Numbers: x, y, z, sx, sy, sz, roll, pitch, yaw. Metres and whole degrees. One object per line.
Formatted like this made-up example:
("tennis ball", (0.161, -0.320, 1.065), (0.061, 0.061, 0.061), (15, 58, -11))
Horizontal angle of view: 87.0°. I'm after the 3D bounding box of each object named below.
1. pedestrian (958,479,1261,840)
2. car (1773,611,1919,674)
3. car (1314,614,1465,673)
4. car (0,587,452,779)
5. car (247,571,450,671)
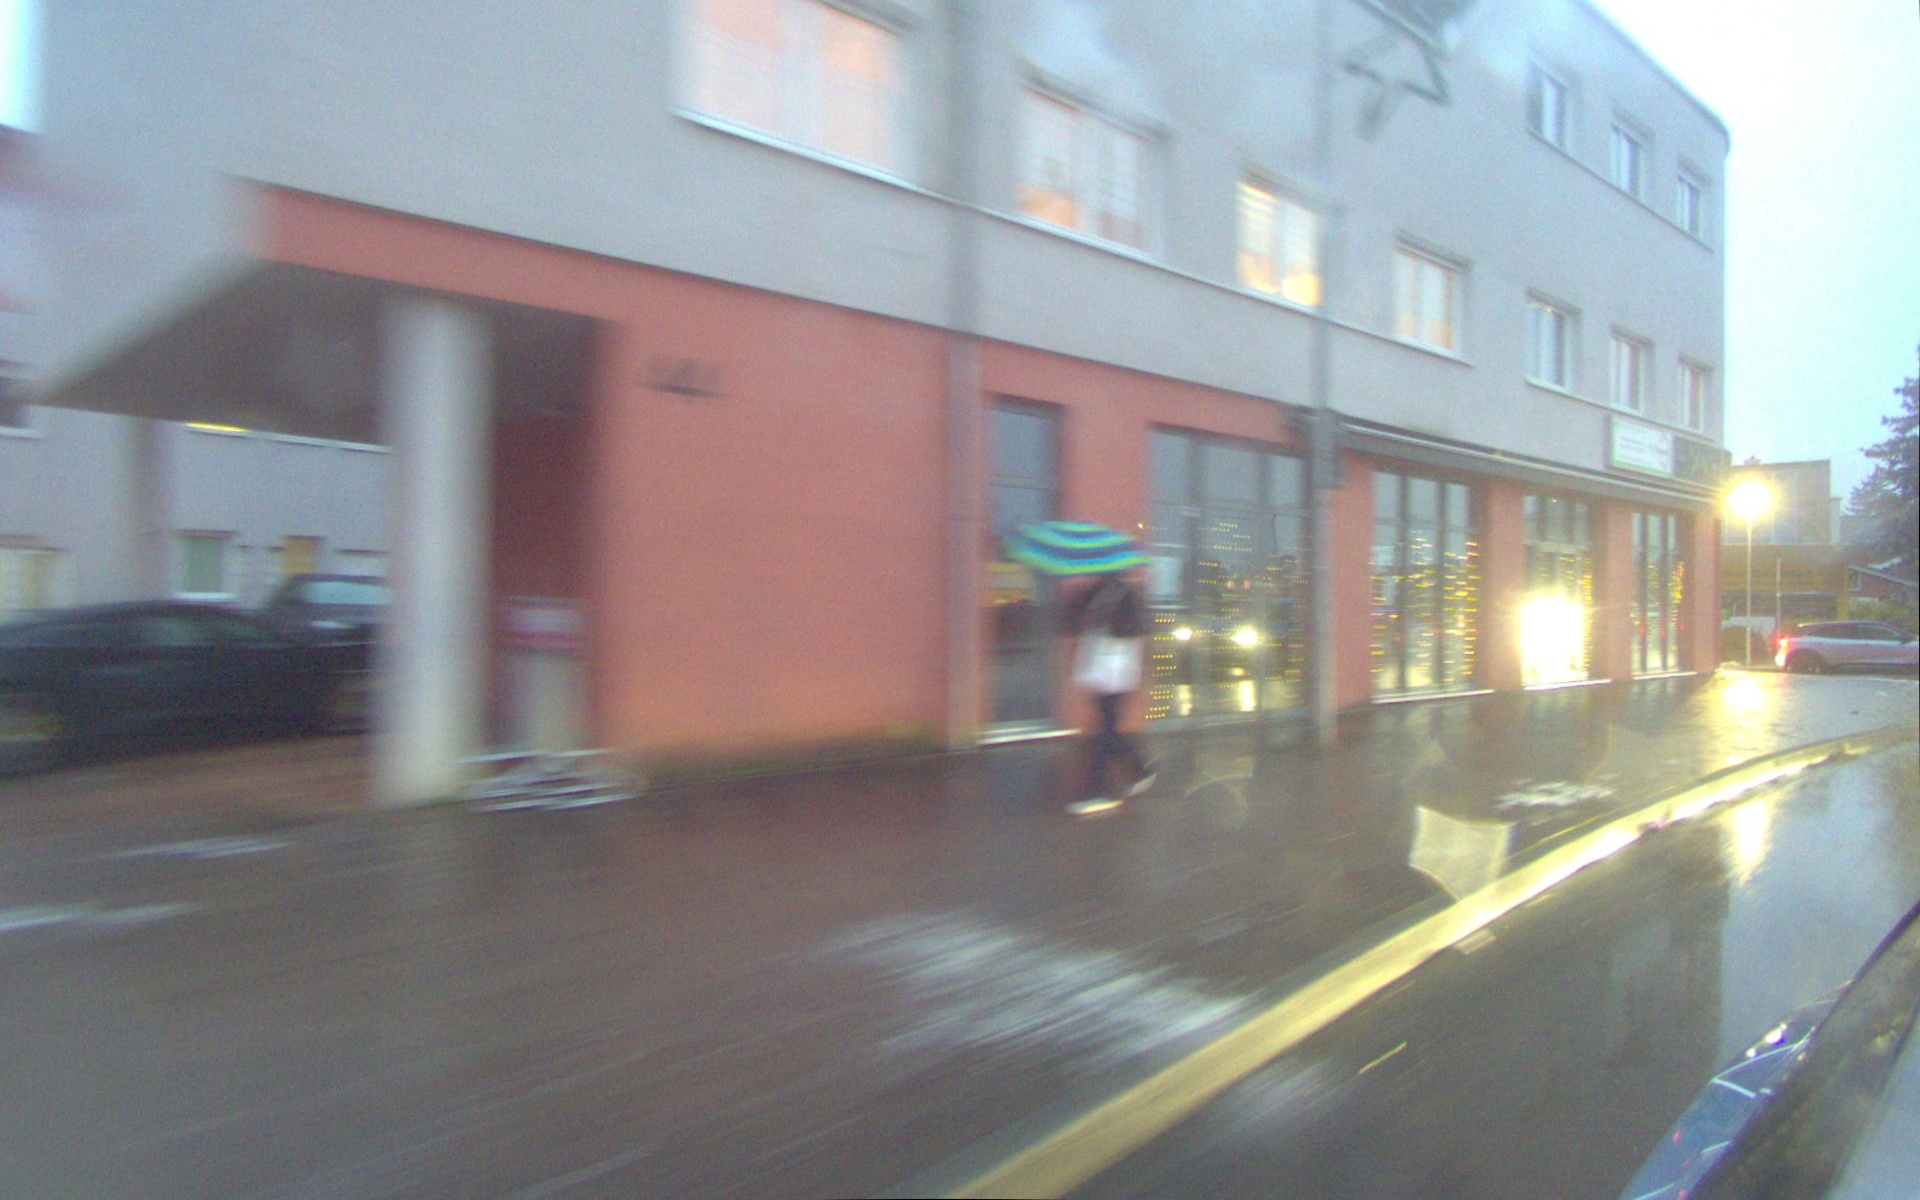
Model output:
("pedestrian", (0.890, 0.293, 6.185), (1.279, 1.889, 1.259), (1, 1, -36))
("car", (22.641, 1.036, 24.604), (1.765, 1.460, 4.178), (2, -4, -39))
("car", (14.055, 1.416, 33.216), (4.110, 1.811, 2.018), (-3, -3, 40))
("car", (-6.820, 0.566, 8.613), (1.866, 1.274, 4.123), (1, 2, 32))
("car", (-10.654, 0.272, 17.471), (4.709, 1.483, 1.843), (2, 1, 44))
